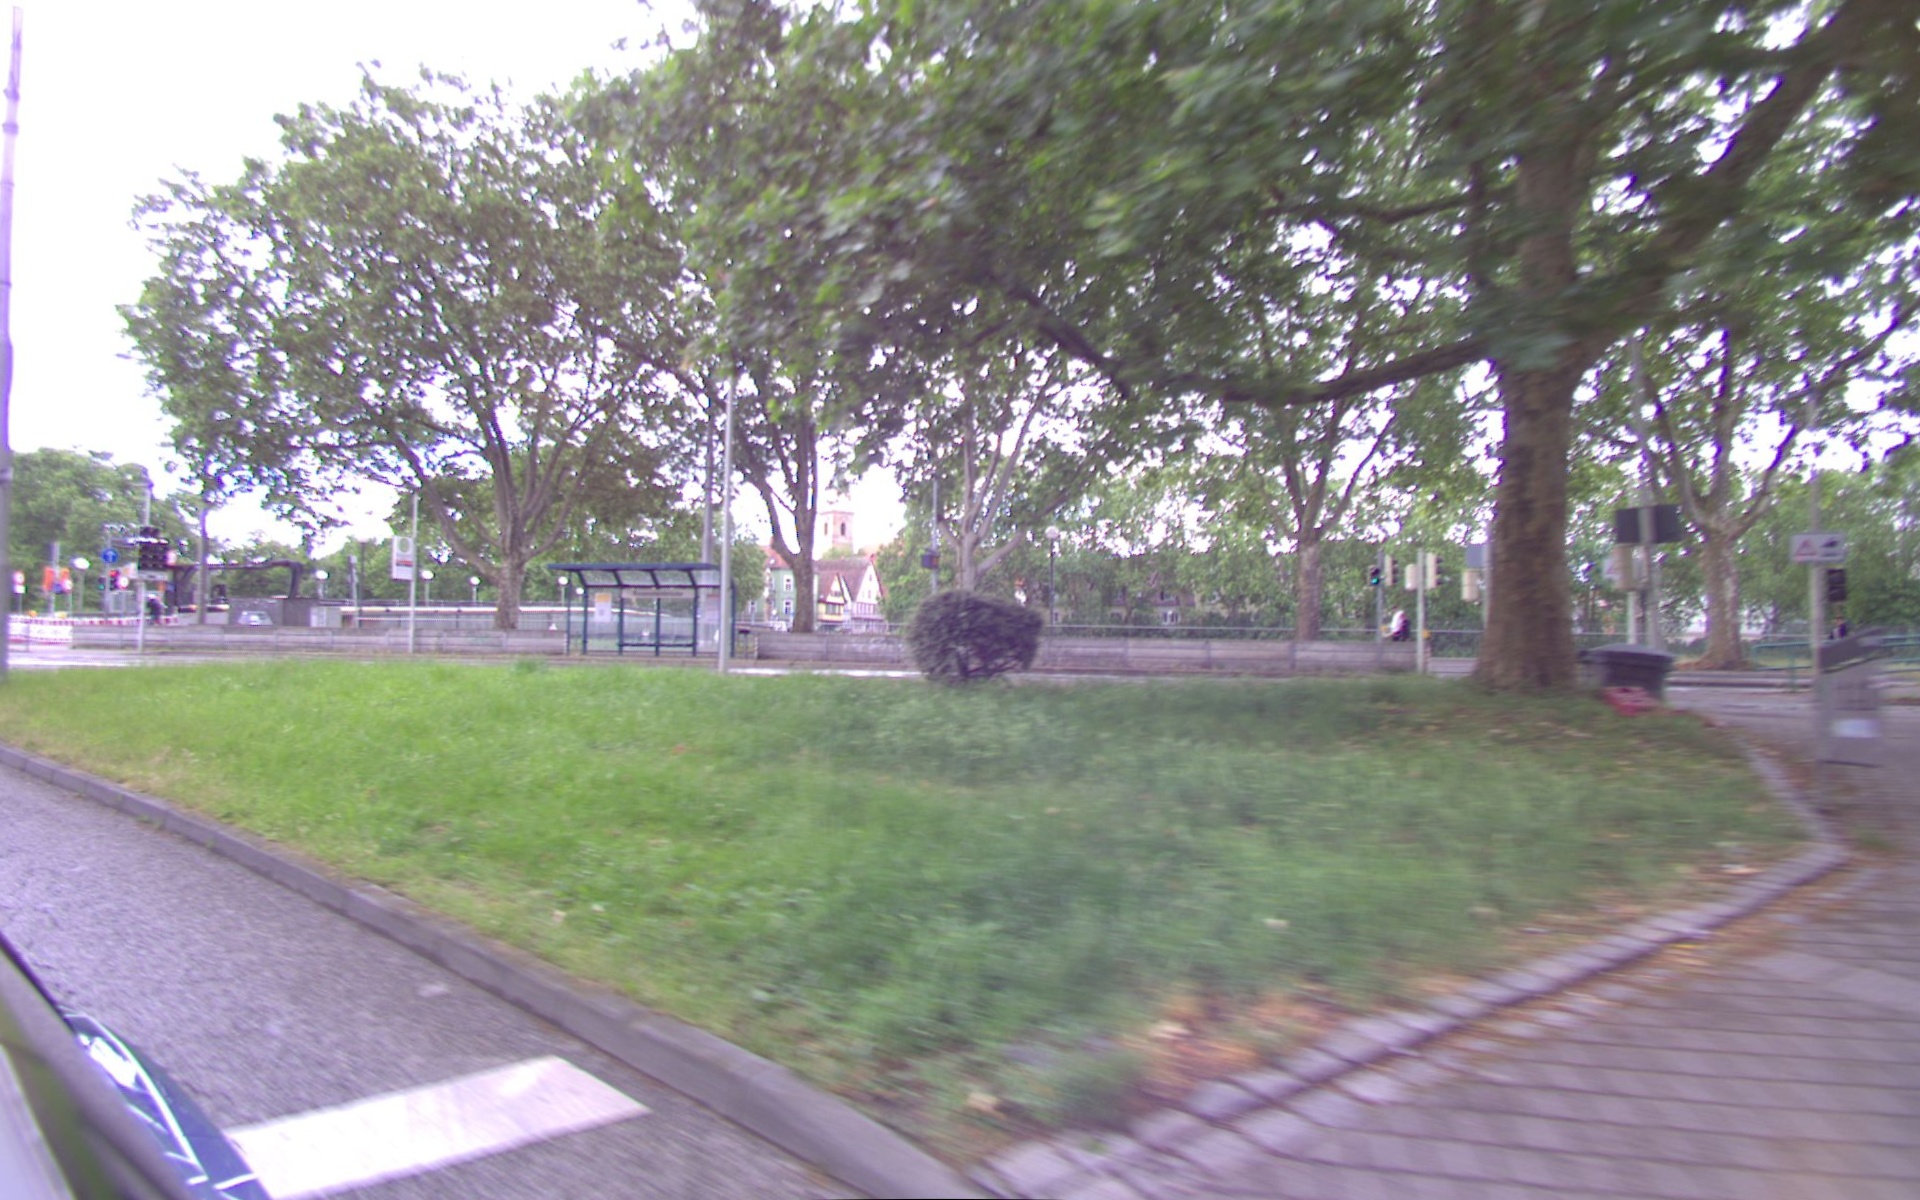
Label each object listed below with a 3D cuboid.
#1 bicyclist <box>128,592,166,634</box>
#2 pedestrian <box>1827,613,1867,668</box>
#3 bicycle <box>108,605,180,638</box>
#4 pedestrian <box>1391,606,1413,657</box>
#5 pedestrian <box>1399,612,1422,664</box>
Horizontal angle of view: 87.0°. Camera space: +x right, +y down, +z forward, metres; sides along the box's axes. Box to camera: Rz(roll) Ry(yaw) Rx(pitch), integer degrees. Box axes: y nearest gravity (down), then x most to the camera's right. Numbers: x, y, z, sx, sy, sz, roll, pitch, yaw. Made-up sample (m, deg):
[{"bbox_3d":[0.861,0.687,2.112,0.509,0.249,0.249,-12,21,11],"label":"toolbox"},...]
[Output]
[{"bbox_3d":[-32.651,0.525,40.642,0.992,1.663,0.644,0,2,-9],"label":"bicyclist"},{"bbox_3d":[26.984,1.216,30.793,0.526,1.635,0.668,0,2,-10],"label":"pedestrian"},{"bbox_3d":[-32.741,0.874,40.630,2.228,1.287,0.692,0,2,-9],"label":"bicycle"},{"bbox_3d":[14.572,1.036,33.338,0.529,1.635,0.500,1,2,11],"label":"pedestrian"},{"bbox_3d":[14.580,1.218,32.749,0.529,1.635,0.500,1,2,11],"label":"pedestrian"}]
